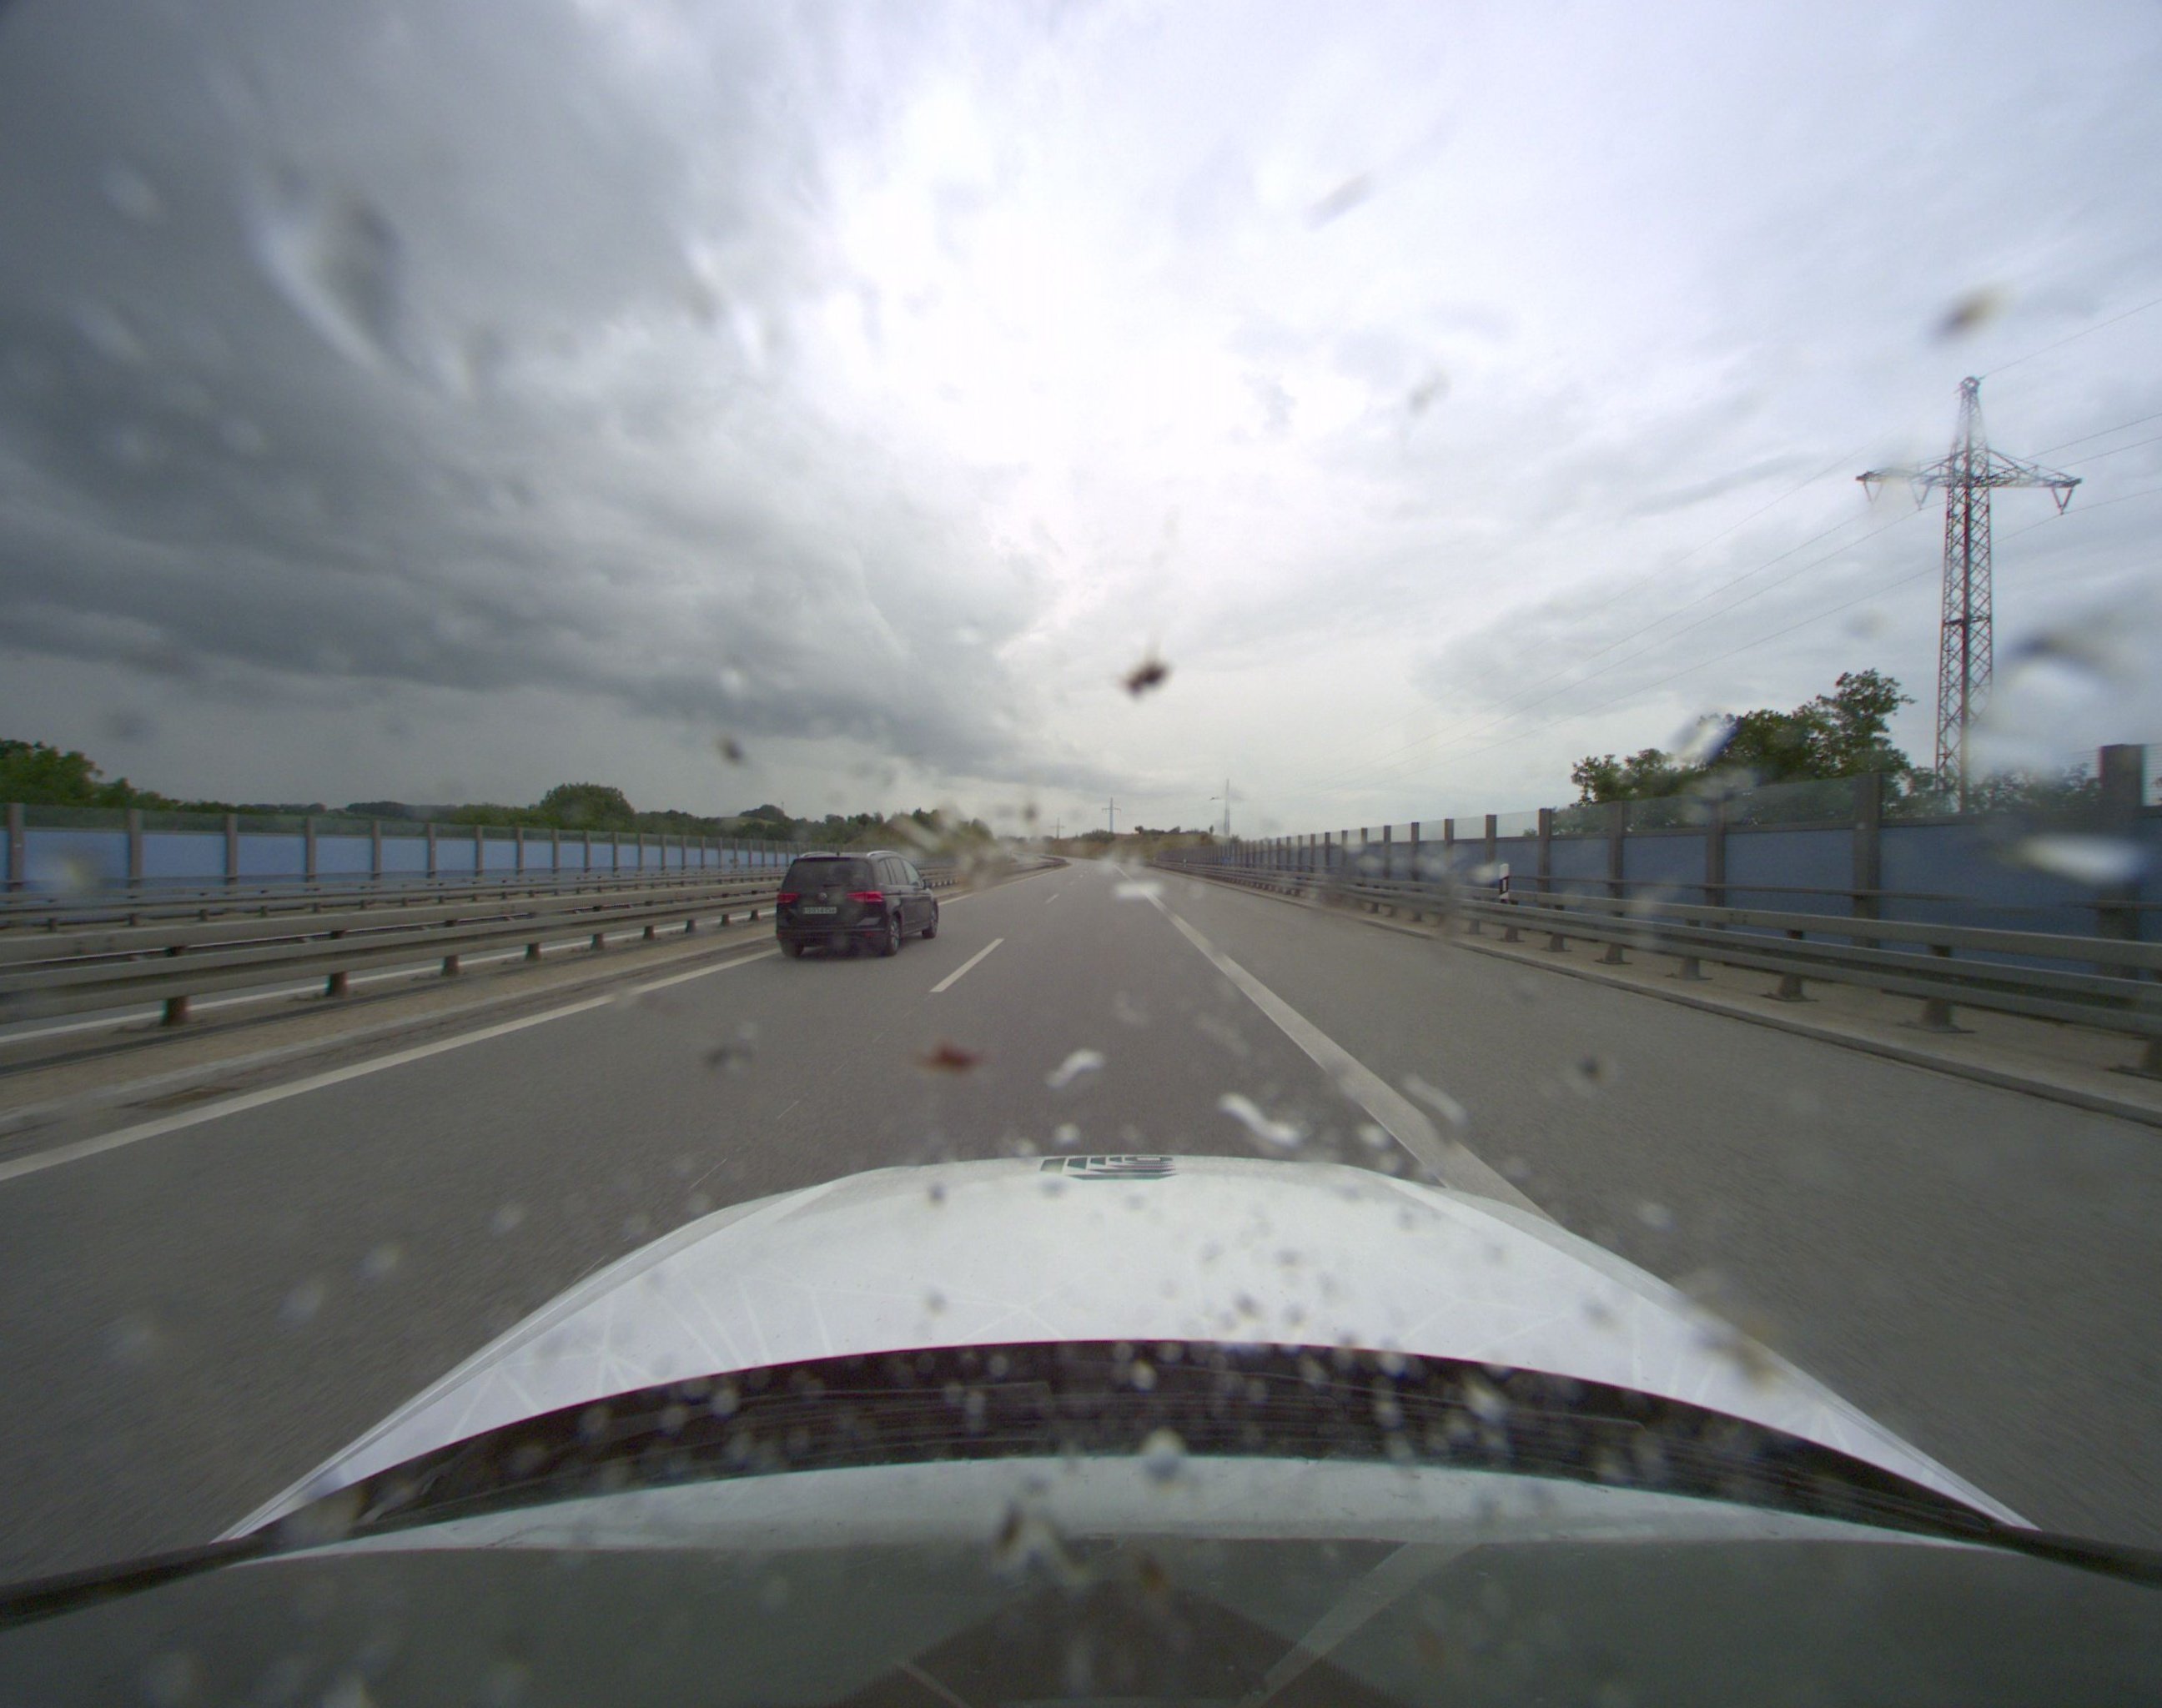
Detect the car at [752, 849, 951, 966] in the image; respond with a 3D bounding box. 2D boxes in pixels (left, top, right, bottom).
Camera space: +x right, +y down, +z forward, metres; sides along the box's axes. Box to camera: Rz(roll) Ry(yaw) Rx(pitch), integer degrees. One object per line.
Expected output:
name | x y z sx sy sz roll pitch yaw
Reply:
car | -3.737 0.768 14.422 1.889 1.670 5.398 -1 0 1
